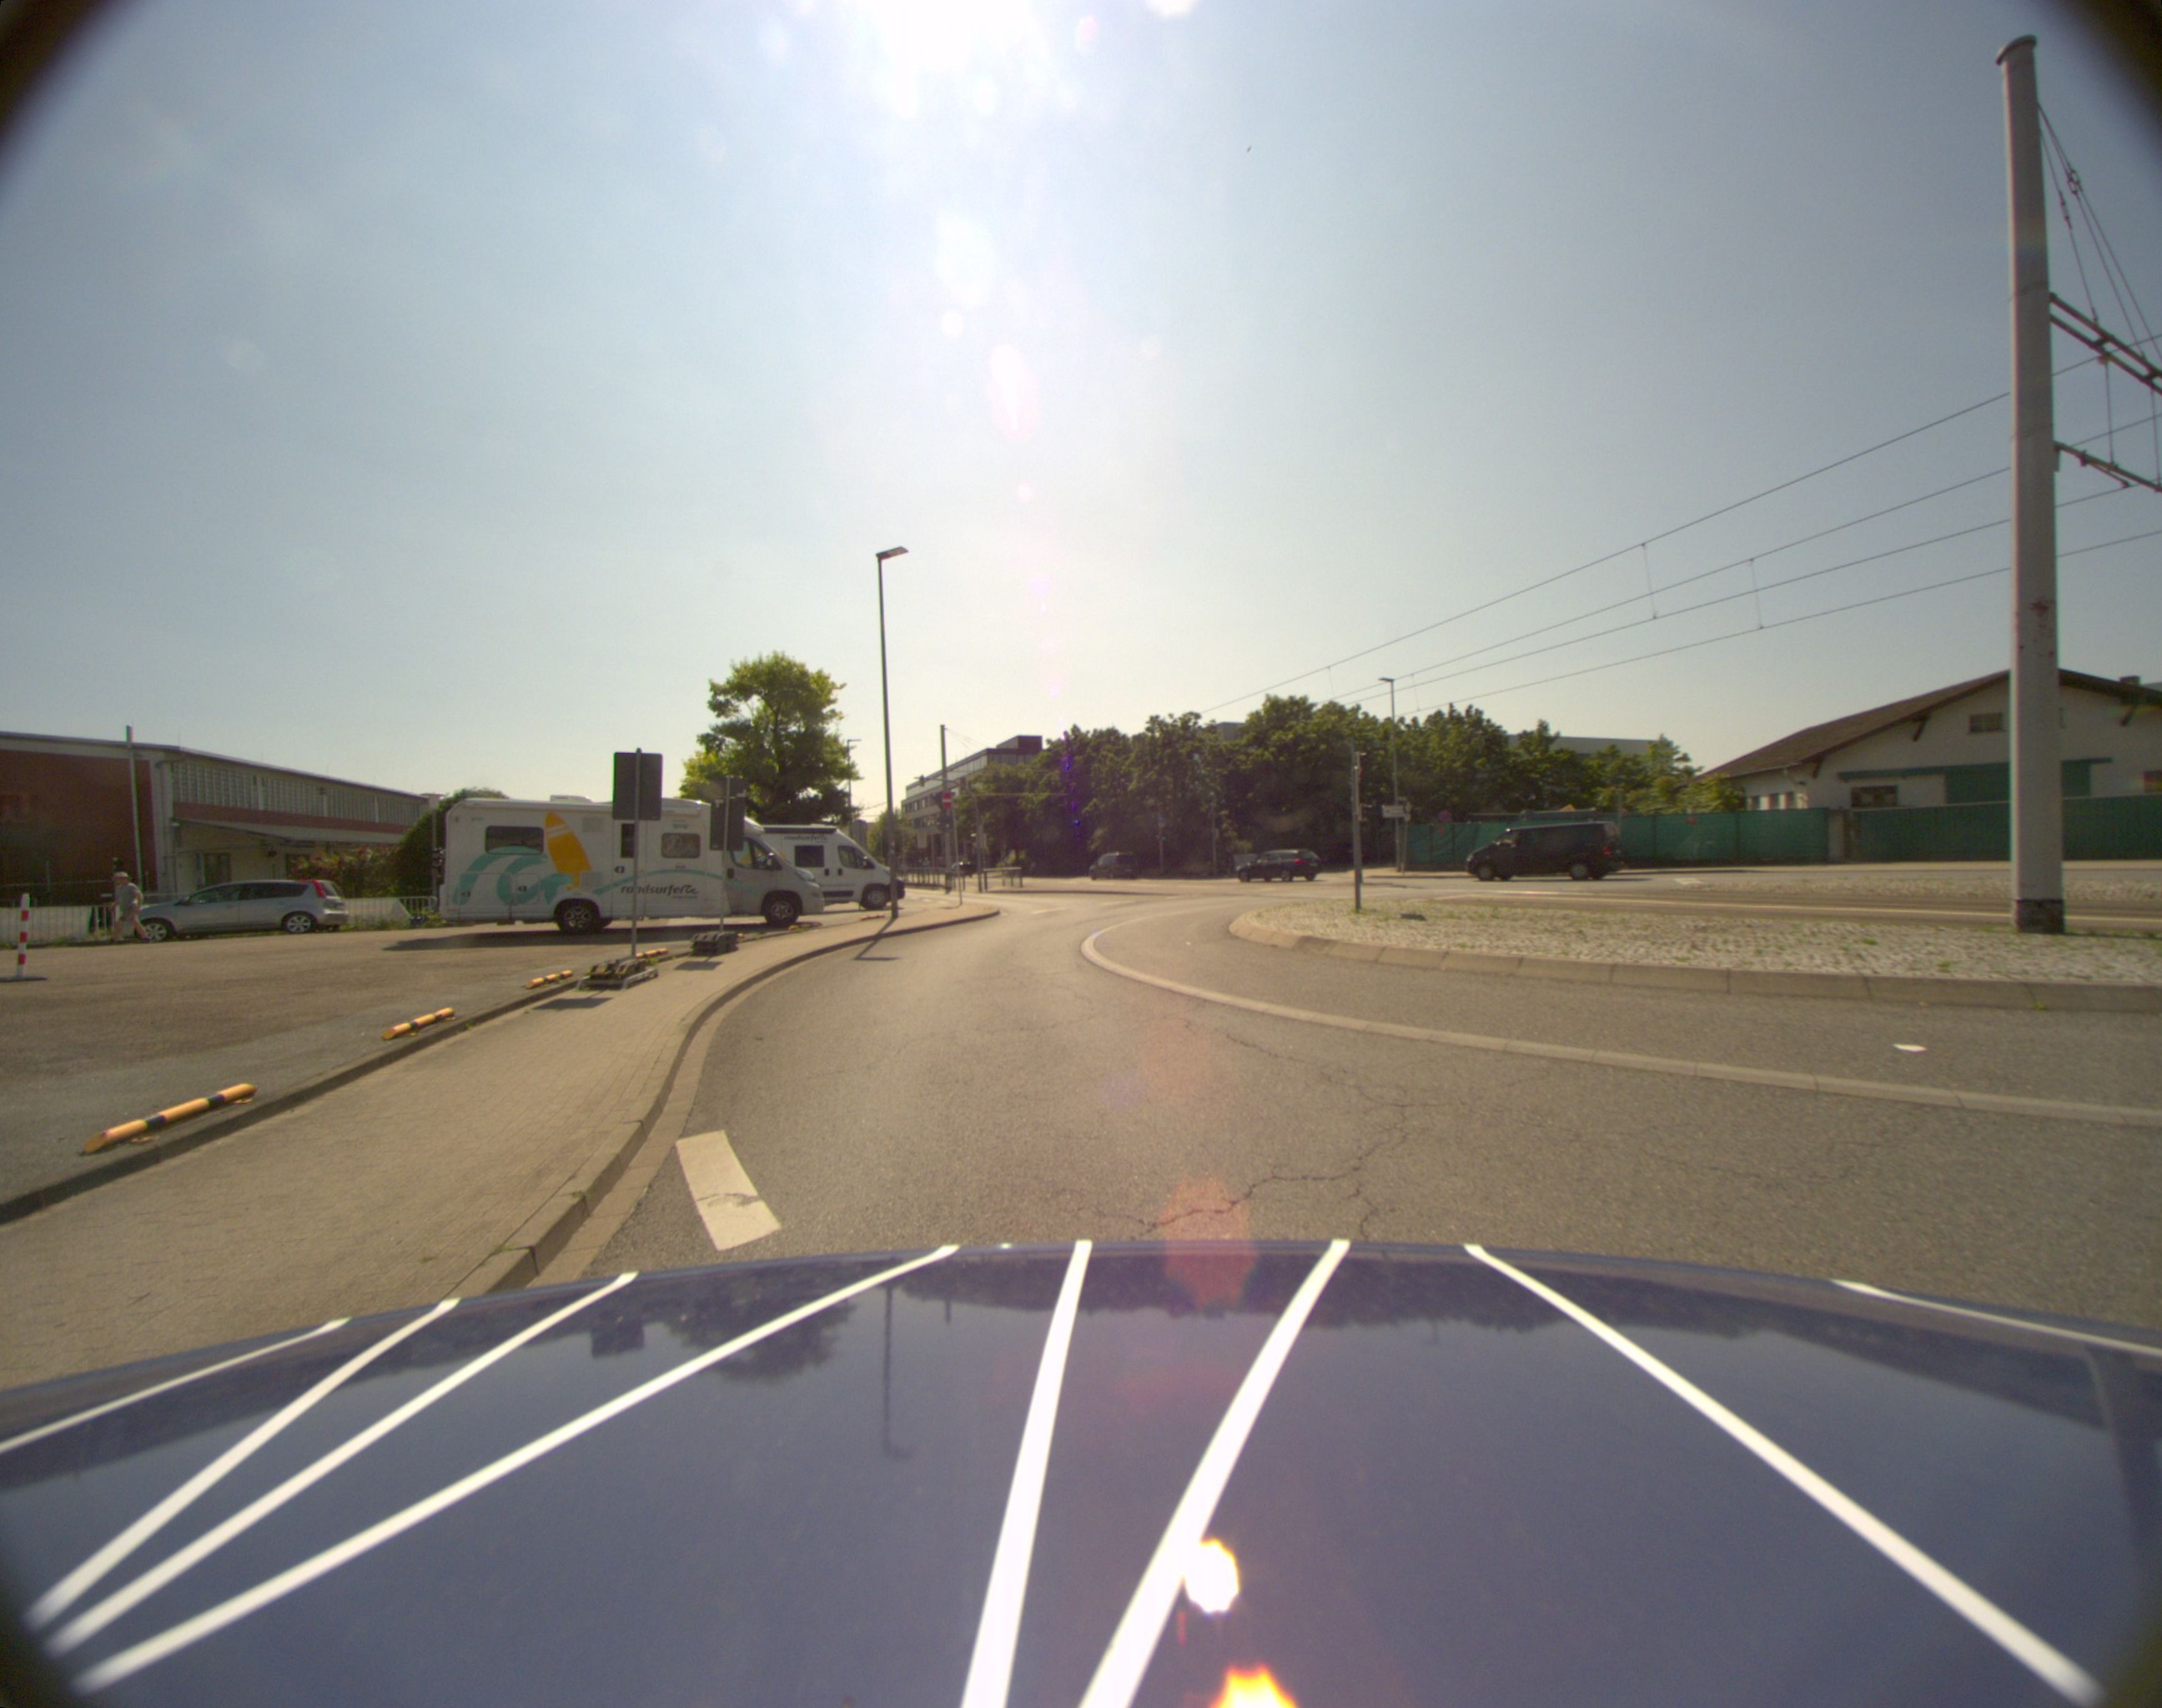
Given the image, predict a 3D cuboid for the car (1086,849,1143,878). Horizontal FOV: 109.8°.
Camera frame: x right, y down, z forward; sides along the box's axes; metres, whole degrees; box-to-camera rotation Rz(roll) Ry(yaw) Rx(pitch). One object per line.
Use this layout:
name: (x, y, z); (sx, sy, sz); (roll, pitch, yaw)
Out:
car: (2.163, 0.643, 50.741); (1.992, 1.808, 4.401); (-3, 0, -23)

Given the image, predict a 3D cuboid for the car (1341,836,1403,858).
car: (21.277, -0.470, 55.628); (3.856, 1.458, 1.629); (-2, 0, 42)

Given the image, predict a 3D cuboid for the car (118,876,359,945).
car: (-22.264, 1.465, 20.313); (3.901, 1.506, 1.813); (-2, -2, -27)

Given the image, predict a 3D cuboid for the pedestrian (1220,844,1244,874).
pedestrian: (9.154, 0.320, 46.082); (0.889, 1.662, 1.157); (-6, 7, -25)

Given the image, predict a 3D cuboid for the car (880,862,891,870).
car: (-40.402, 2.516, 156.876); (1.874, 1.608, 3.994); (-1, 0, -17)

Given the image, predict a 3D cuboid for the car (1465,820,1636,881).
car: (16.379, -0.078, 26.703); (2.102, 1.899, 4.627); (-2, -1, -41)

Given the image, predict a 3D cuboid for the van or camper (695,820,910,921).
van or camper: (-8.390, 0.436, 23.215); (5.835, 2.757, 2.087); (-2, -1, -22)

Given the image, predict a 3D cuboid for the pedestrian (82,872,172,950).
pedestrian: (-21.590, 1.269, 17.230); (0.777, 1.662, 0.944); (-2, 2, -13)

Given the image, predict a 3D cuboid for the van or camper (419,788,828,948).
van or camper: (-9.314, 0.234, 16.402); (7.093, 2.929, 2.330); (0, 0, -24)

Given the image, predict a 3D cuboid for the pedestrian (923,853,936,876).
pedestrian: (-11.786, 0.811, 59.227); (0.727, 1.714, 0.943); (-3, 0, -24)

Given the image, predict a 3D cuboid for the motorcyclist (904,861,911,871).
motorcyclist: (-25.219, 1.773, 110.351); (0.839, 1.467, 0.961); (-3, 1, -25)

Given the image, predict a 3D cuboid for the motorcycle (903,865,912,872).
motorcycle: (-25.299, 2.153, 110.530); (0.826, 1.005, 1.960); (-3, 0, -25)

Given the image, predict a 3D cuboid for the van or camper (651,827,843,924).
van or camper: (-10.943, 0.667, 25.345); (5.529, 2.797, 2.045); (-3, -1, -20)

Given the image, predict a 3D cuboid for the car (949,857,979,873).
car: (-12.766, 1.205, 82.880); (1.936, 1.574, 4.182); (1, 0, -29)

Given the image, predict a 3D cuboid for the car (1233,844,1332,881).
car: (9.562, 0.428, 36.297); (1.973, 1.546, 4.232); (-2, -1, -35)
